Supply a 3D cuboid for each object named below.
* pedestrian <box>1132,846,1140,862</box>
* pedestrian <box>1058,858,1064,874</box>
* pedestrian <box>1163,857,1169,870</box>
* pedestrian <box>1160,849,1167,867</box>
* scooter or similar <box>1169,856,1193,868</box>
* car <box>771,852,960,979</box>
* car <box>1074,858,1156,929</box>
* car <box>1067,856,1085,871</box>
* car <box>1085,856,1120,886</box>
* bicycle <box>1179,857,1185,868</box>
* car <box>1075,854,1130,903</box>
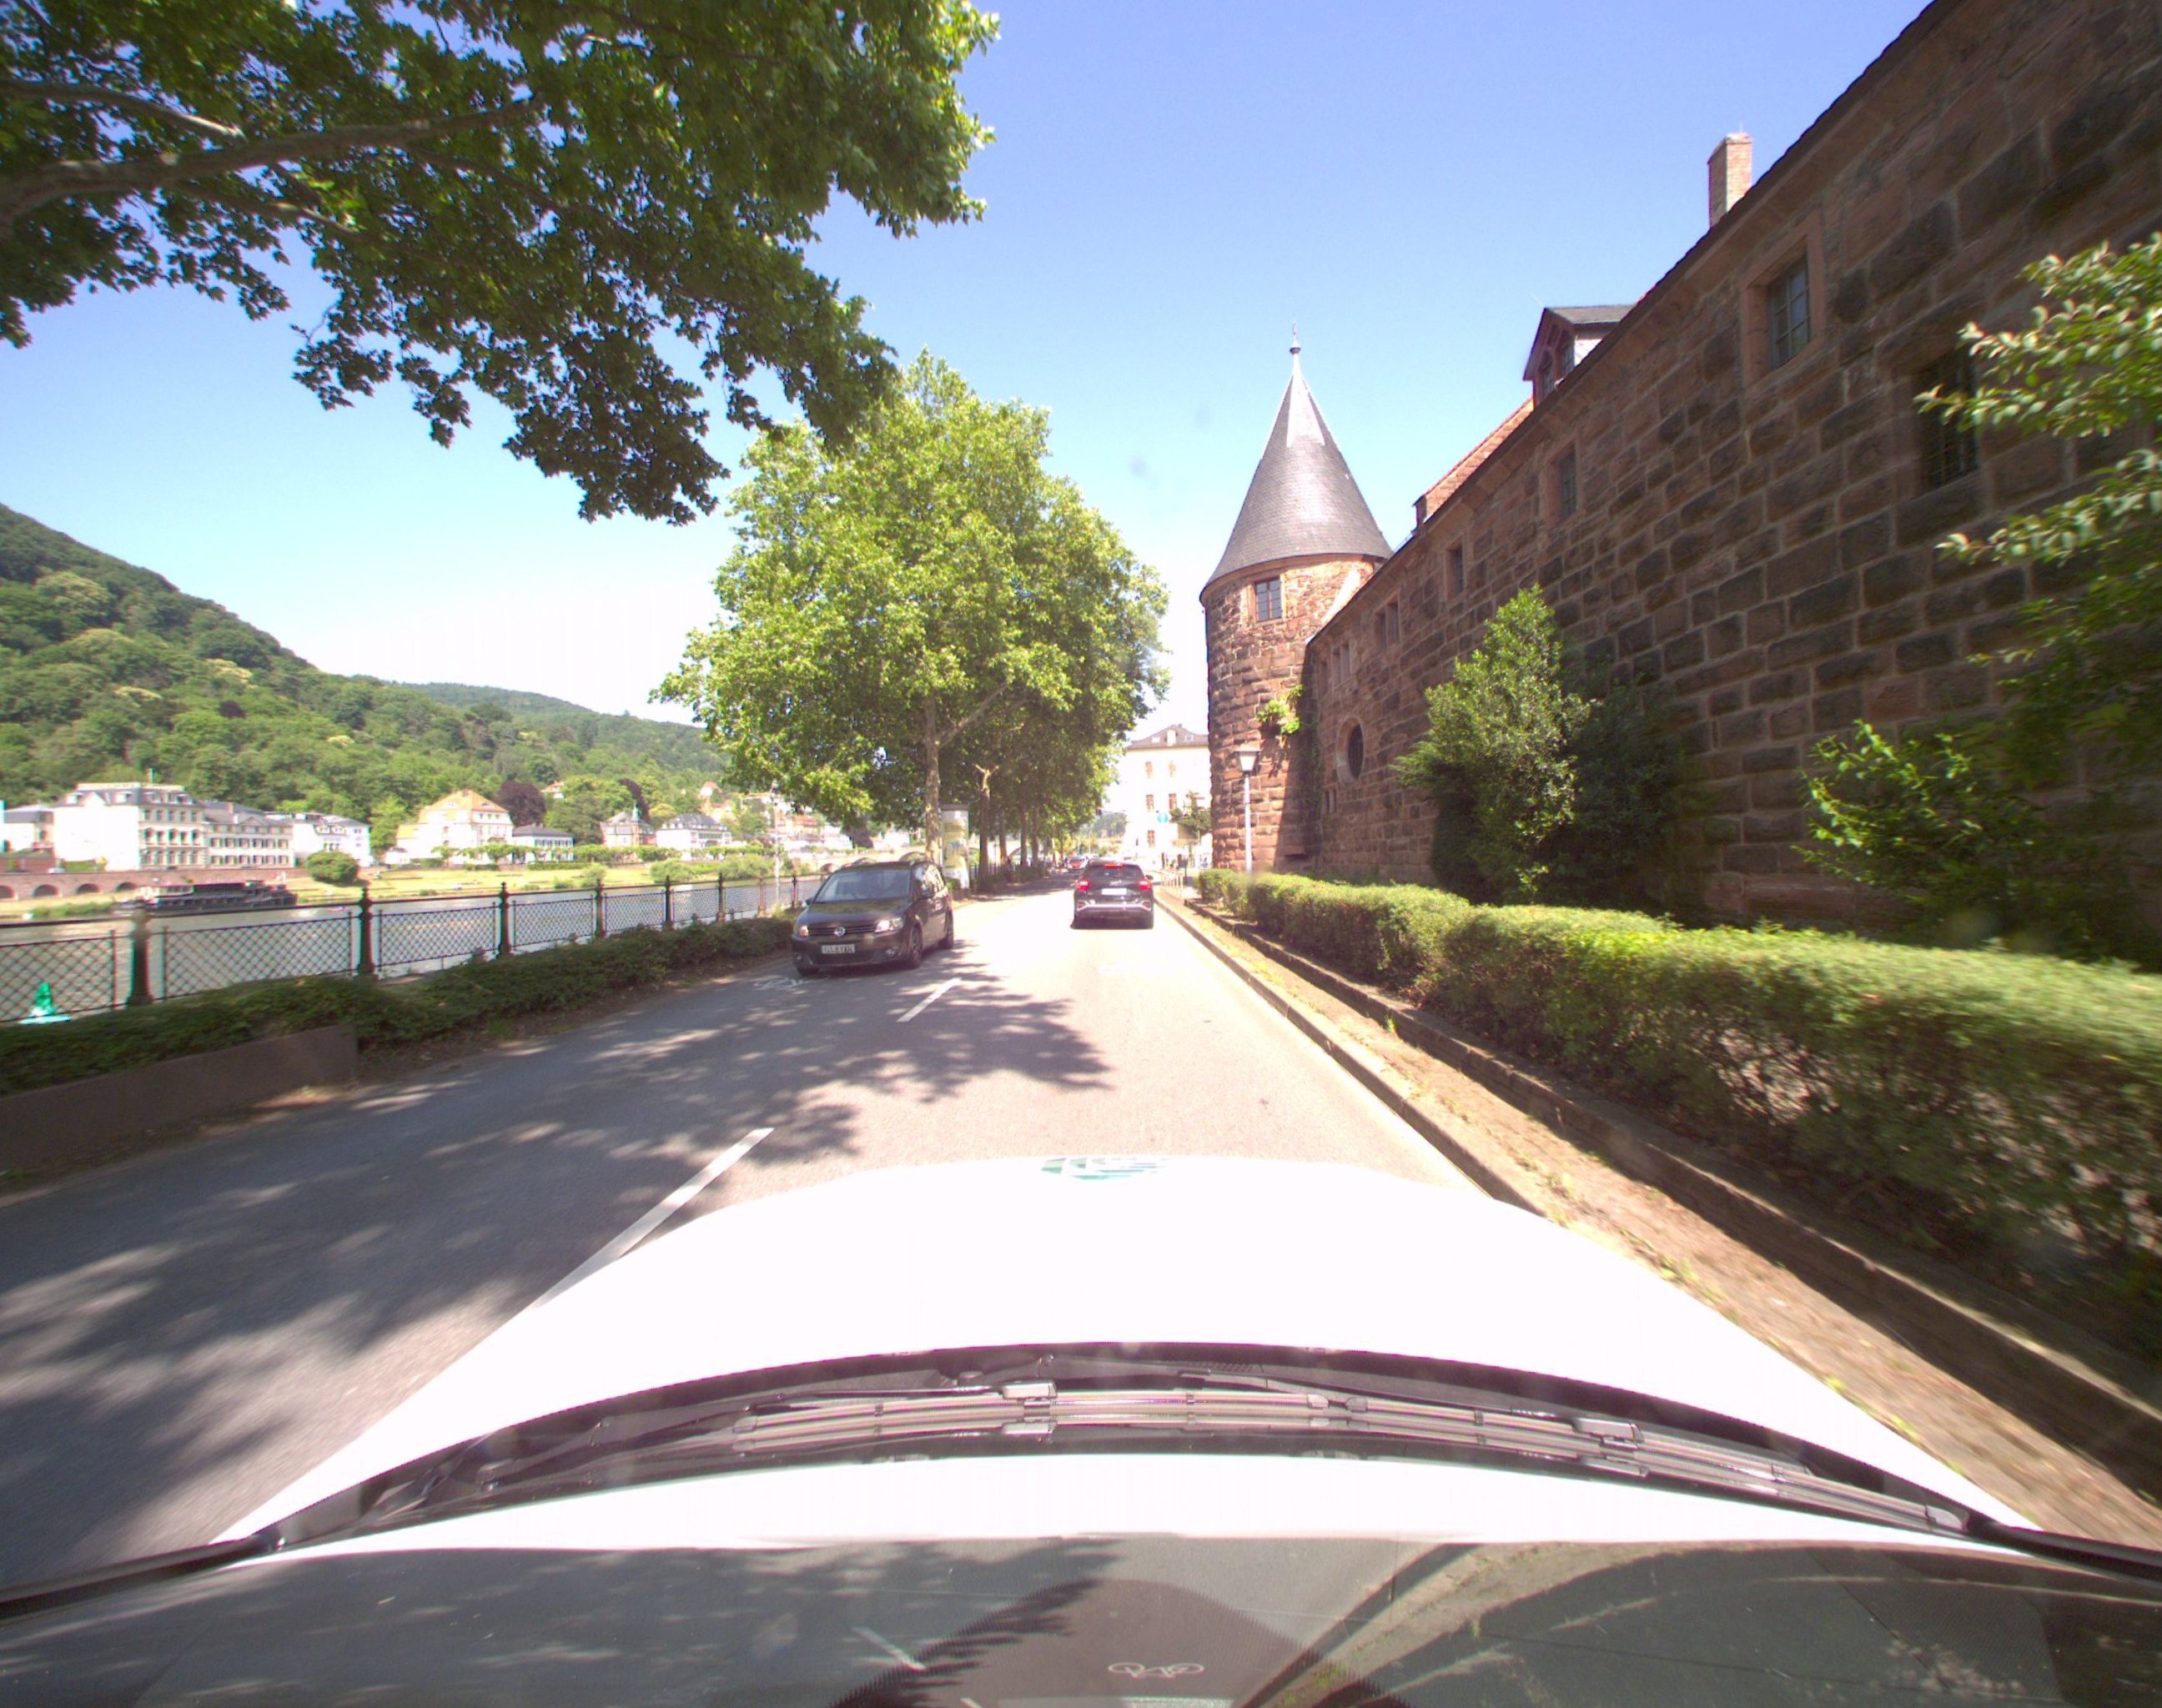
[{"bbox_3d":[5.455,-0.029,80.716,0.744,1.557,0.589,0,-1,3],"label":"pedestrian"},{"bbox_3d":[-1.981,1.193,82.125,0.516,1.638,0.438,-3,-1,-5],"label":"pedestrian"},{"bbox_3d":[7.718,0.888,73.944,0.544,1.201,0.523,0,-1,3],"label":"pedestrian"},{"bbox_3d":[7.384,0.357,72.922,0.555,1.633,0.660,0,-1,3],"label":"pedestrian"},{"bbox_3d":[8.019,0.664,65.418,1.838,0.963,0.429,1,-1,1],"label":"scooter or similar"},{"bbox_3d":[-3.241,0.848,13.153,1.756,1.647,4.091,-3,0,2],"label":"car"},{"bbox_3d":[0.762,0.858,19.158,1.742,1.494,3.629,0,0,1],"label":"car"},{"bbox_3d":[-0.546,0.993,88.385,1.608,1.523,3.480,-3,0,4],"label":"car"},{"bbox_3d":[1.222,0.905,45.146,1.794,1.523,3.718,-2,0,2],"label":"car"},{"bbox_3d":[9.429,0.792,75.994,0.449,0.975,1.400,0,-1,2],"label":"bicycle"},{"bbox_3d":[0.791,0.839,29.279,1.794,1.562,3.718,-3,0,2],"label":"car"}]
